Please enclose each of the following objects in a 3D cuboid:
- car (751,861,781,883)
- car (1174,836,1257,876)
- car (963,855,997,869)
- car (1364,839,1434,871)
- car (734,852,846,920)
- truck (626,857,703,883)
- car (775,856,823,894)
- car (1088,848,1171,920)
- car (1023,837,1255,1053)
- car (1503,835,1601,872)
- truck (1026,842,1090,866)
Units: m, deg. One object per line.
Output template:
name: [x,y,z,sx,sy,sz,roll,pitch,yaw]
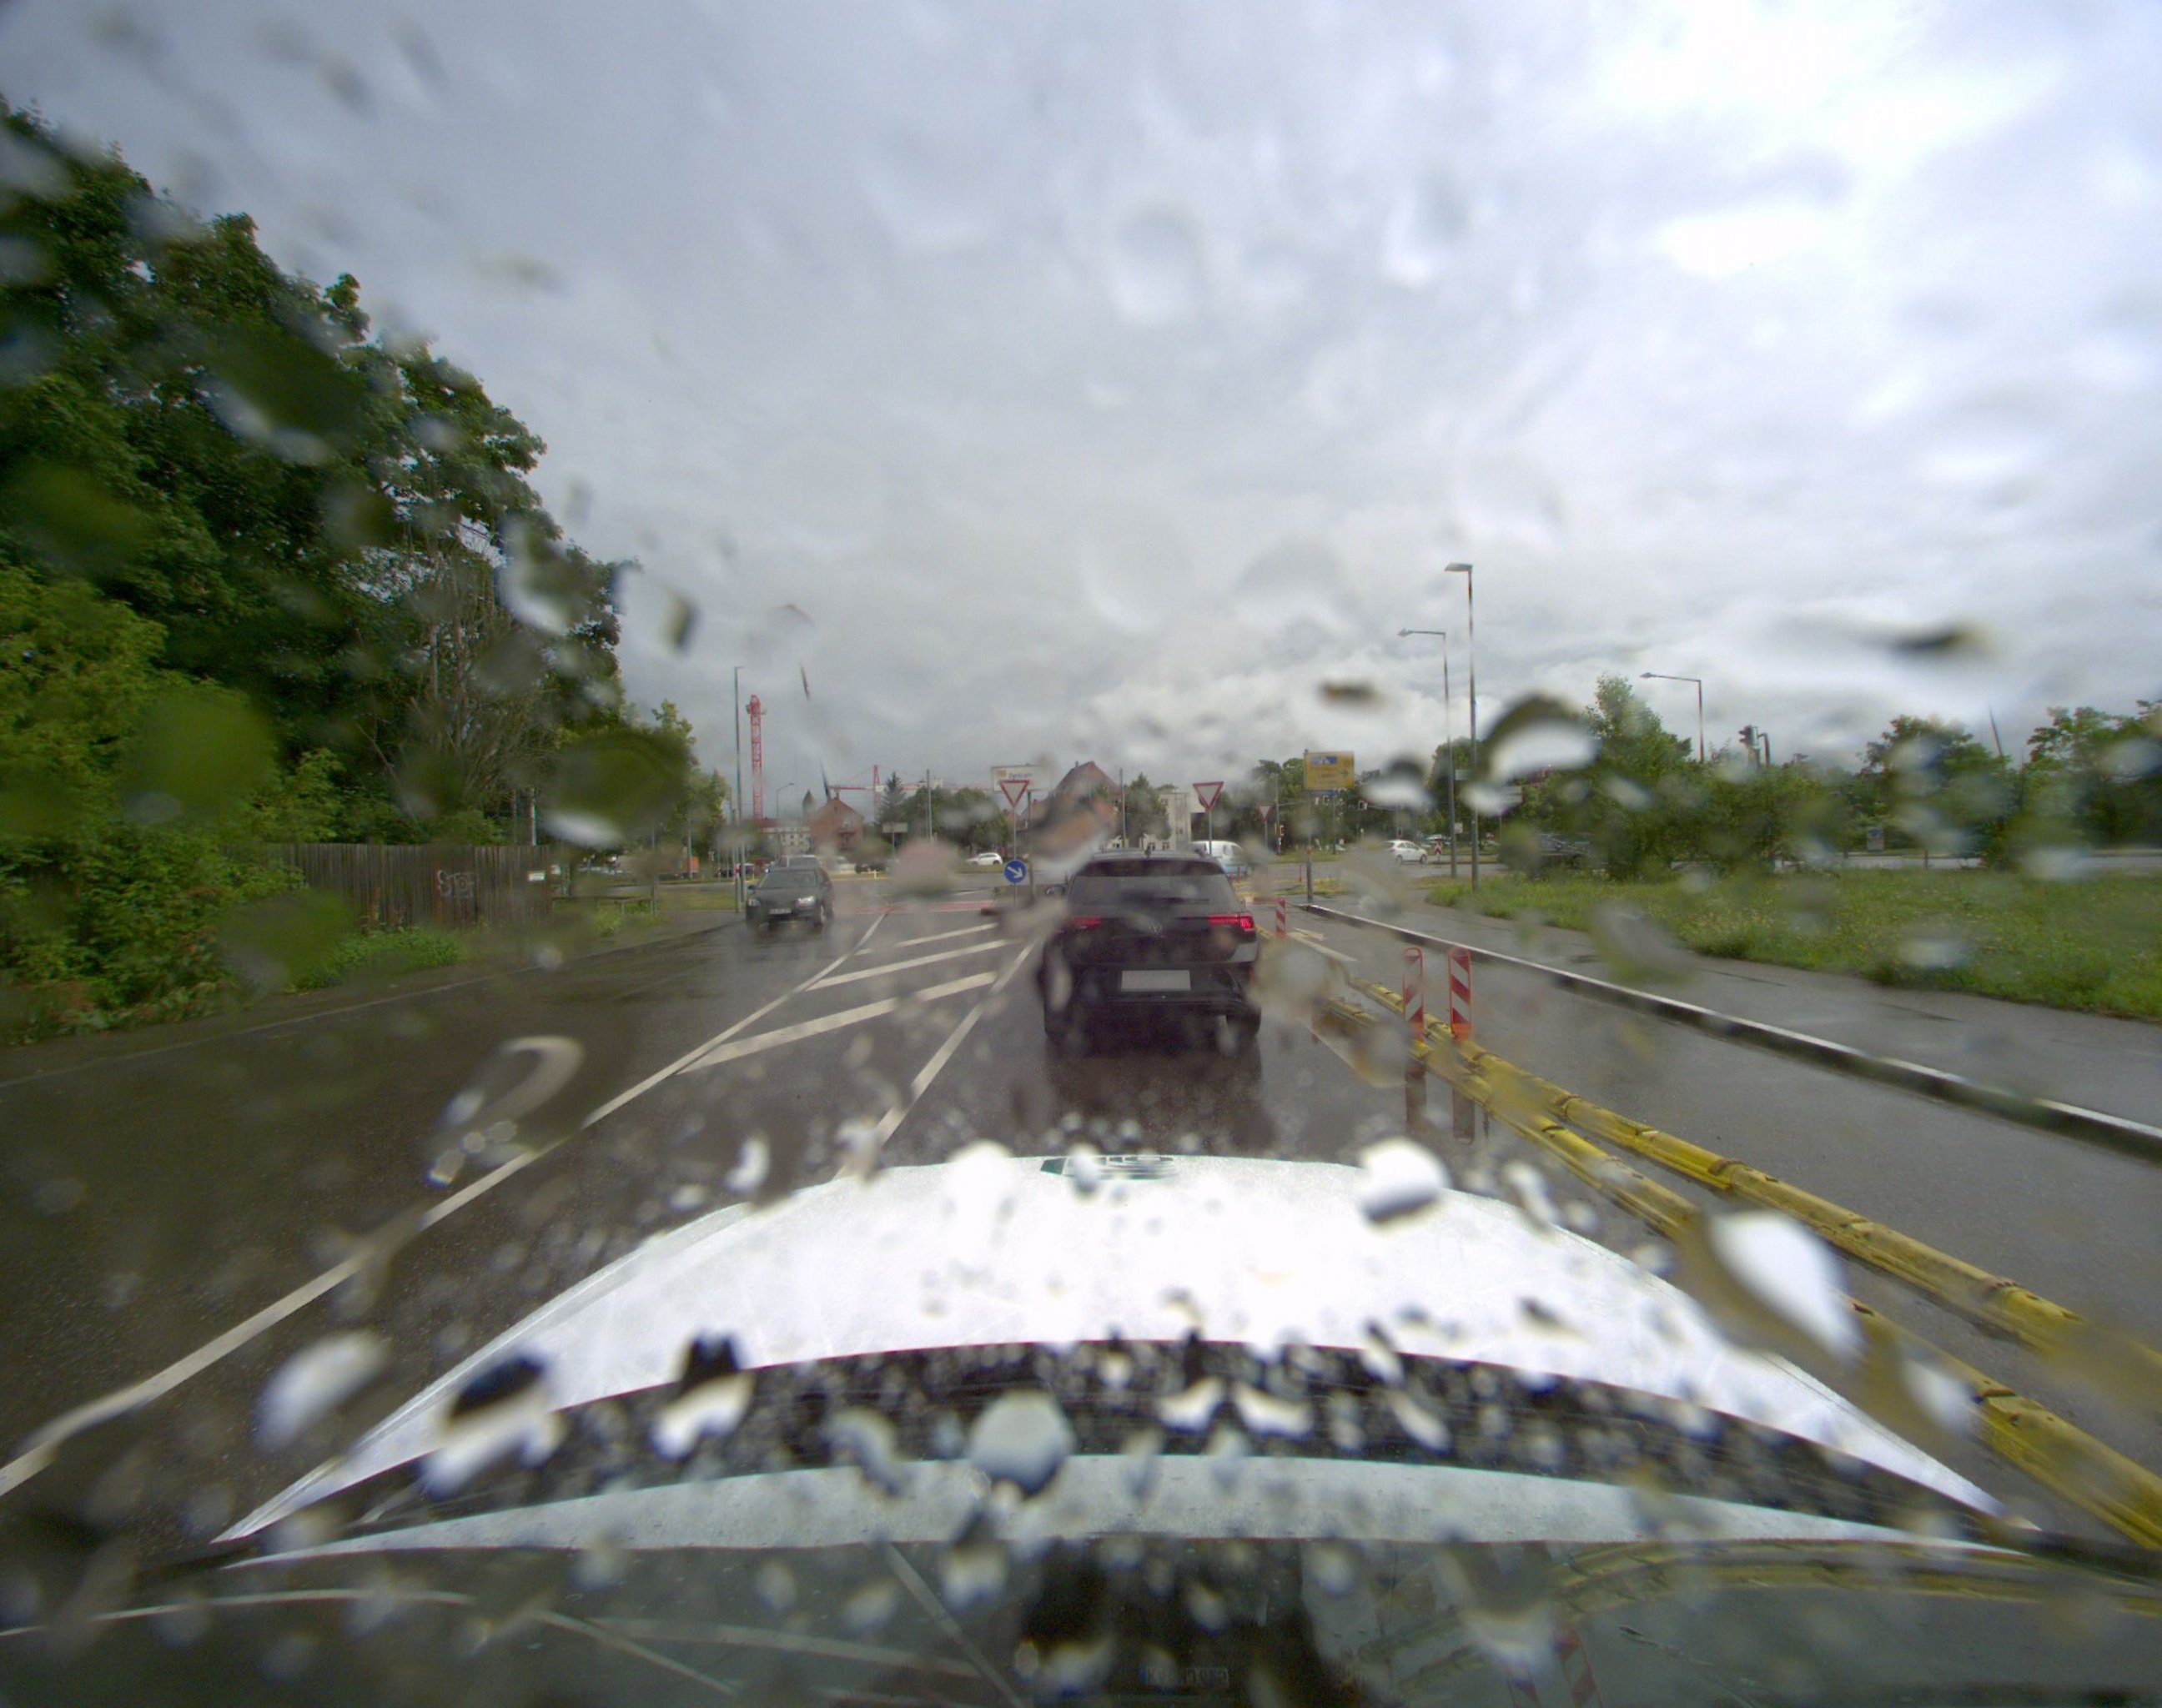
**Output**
car: [-25.247,1.419,65.104,1.744,1.664,4.072,-2,0,-28]
car: [6.518,0.058,39.205,1.846,1.809,4.431,-1,0,41]
car: [-11.858,0.939,95.627,3.518,1.584,1.552,-2,0,-31]
car: [19.427,0.044,49.696,4.015,1.830,1.979,-2,0,-33]
car: [-7.332,0.773,20.953,1.874,1.482,4.165,-2,-1,-9]
truck: [-43.392,1.654,84.984,6.683,2.442,2.433,-2,0,-1]
car: [-15.383,1.083,44.255,1.897,1.876,5.090,-2,0,-25]
car: [1.071,0.637,19.351,1.730,1.514,3.603,-1,0,0]
car: [0.412,0.678,7.898,1.703,1.574,3.681,-1,0,-1]
car: [22.727,-0.014,39.436,3.907,1.644,1.680,-1,0,22]
truck: [-2.721,-0.037,95.083,7.079,2.650,2.318,-2,0,-15]
